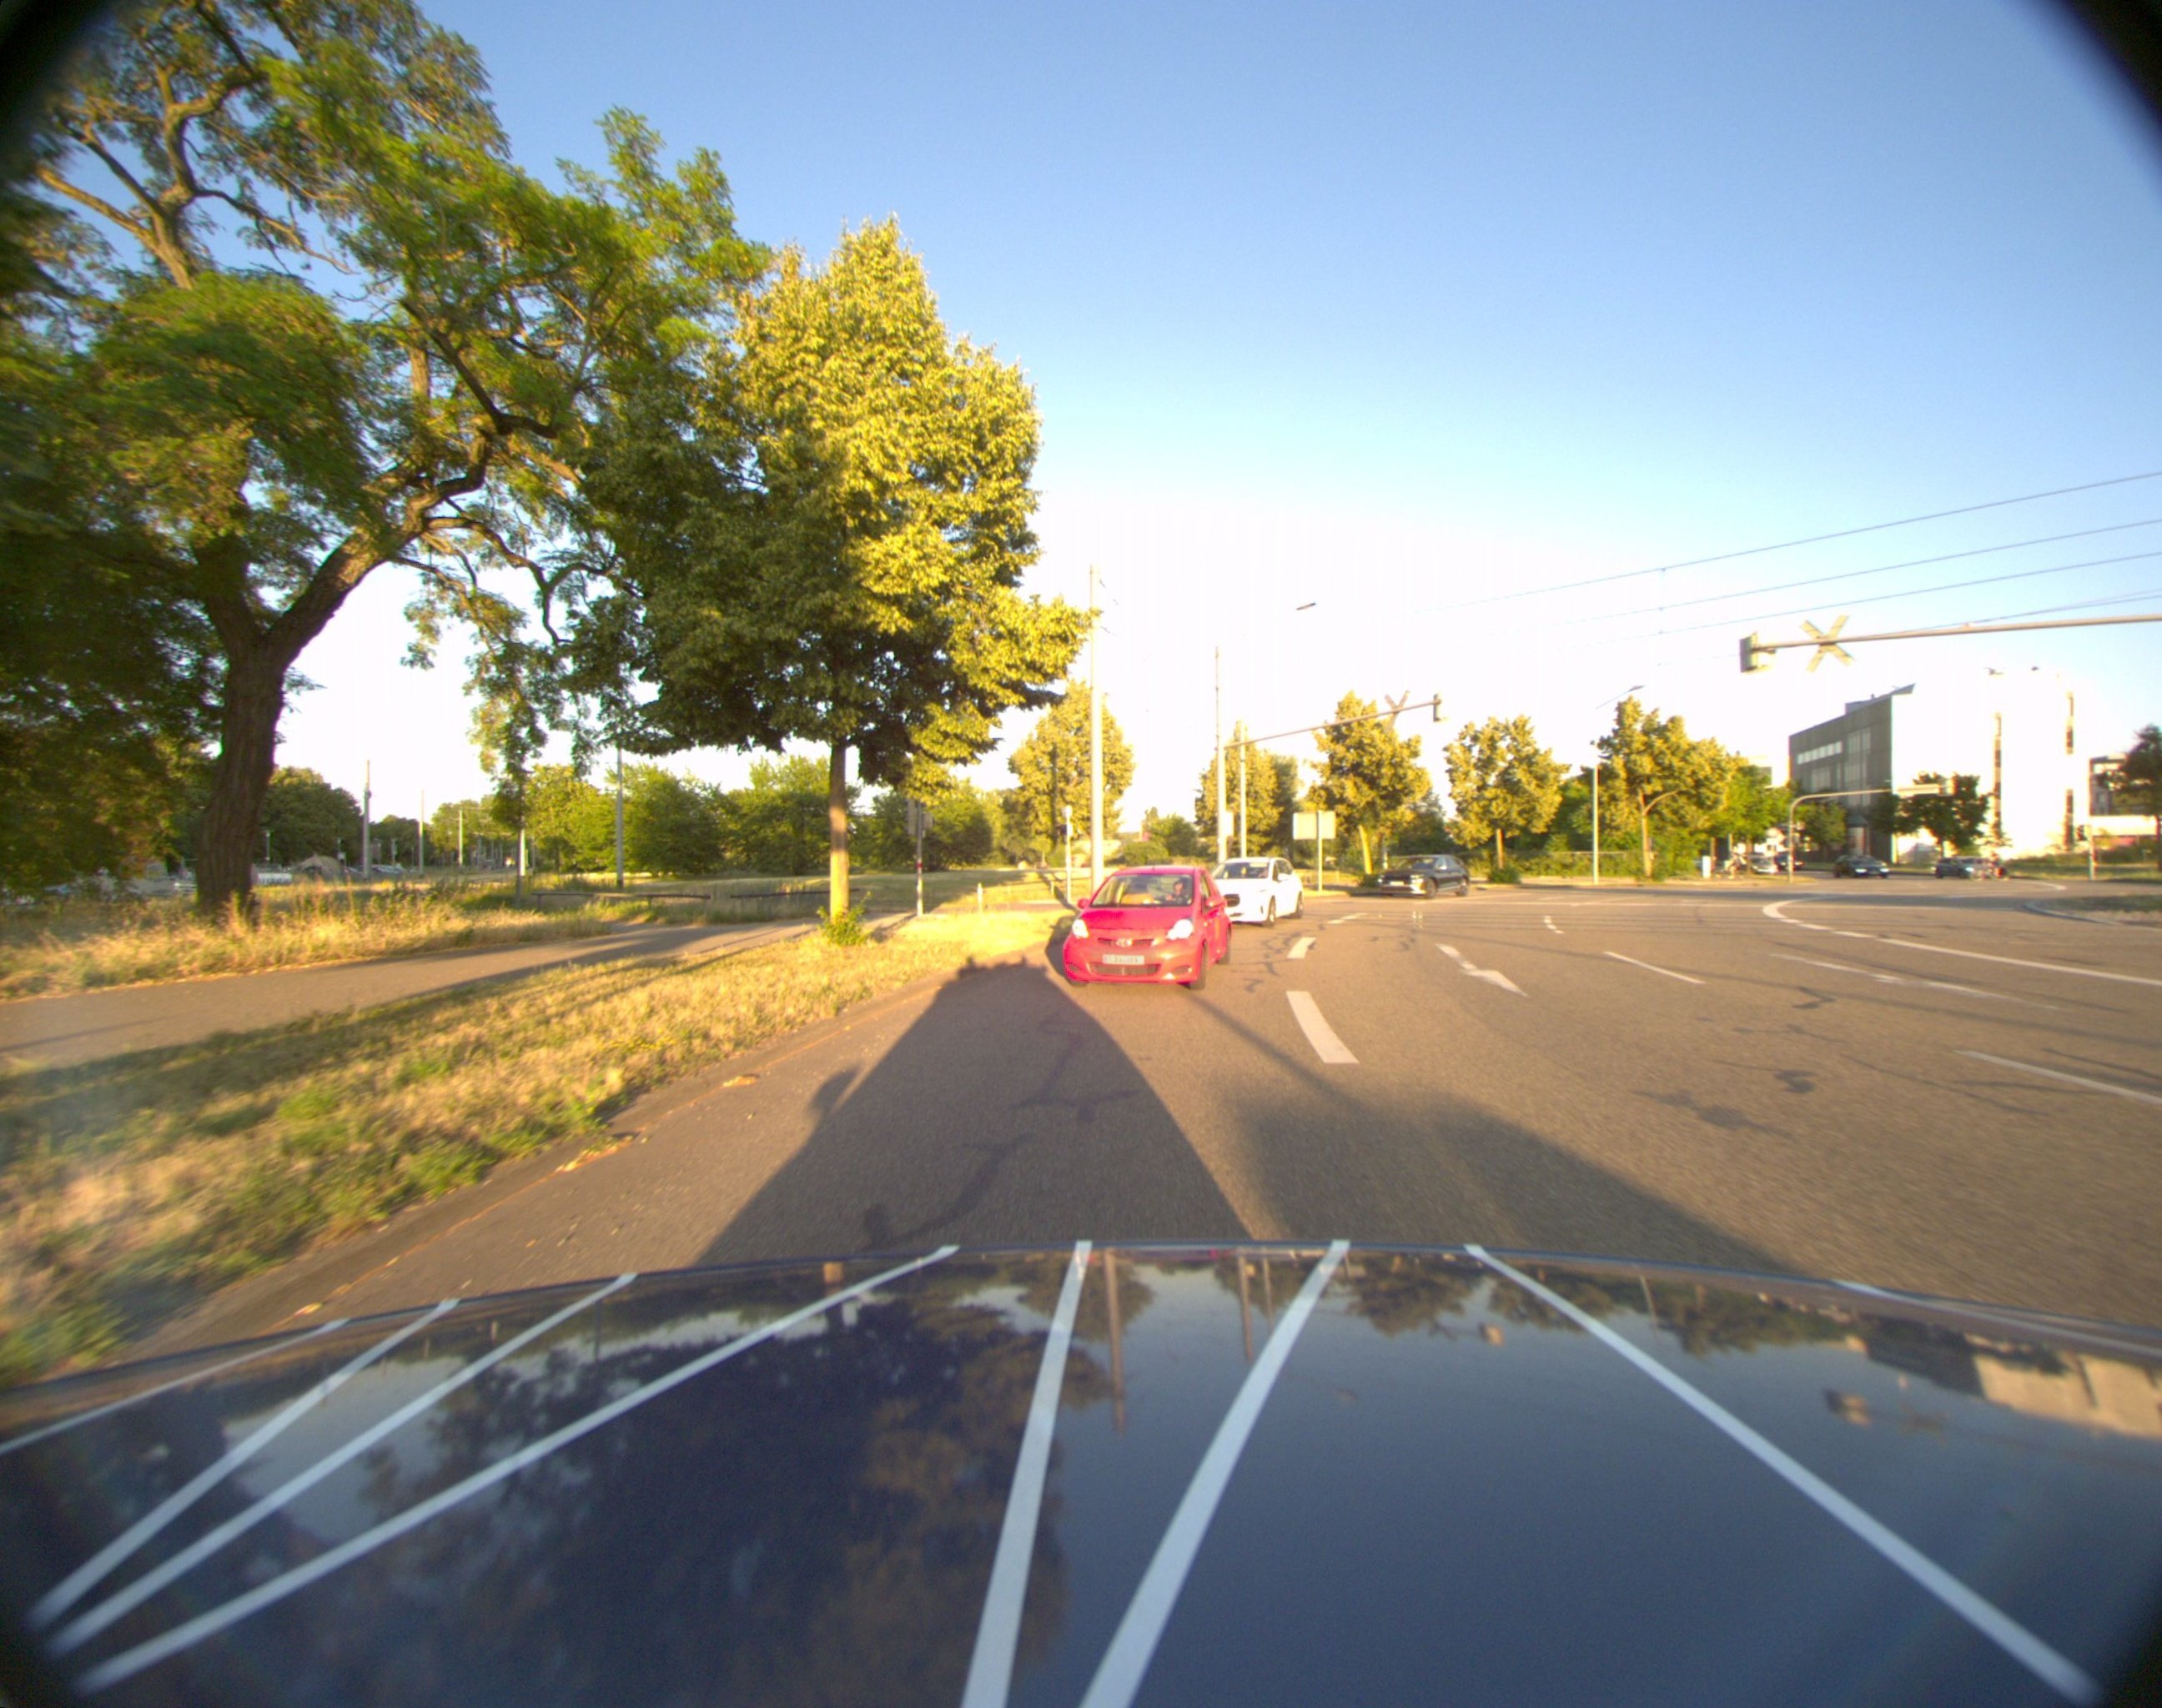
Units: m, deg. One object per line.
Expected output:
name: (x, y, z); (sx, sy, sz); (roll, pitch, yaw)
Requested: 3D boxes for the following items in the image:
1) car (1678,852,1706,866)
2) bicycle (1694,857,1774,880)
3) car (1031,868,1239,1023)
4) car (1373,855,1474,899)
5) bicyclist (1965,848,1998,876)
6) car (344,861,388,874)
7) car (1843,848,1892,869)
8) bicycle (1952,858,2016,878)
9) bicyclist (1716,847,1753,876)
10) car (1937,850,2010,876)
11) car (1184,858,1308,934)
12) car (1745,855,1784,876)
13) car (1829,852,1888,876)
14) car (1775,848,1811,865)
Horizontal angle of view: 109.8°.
car: (70.112, 0.560, 87.265); (1.868, 1.616, 4.201); (-1, 0, 30)
bicycle: (39.917, 0.875, 46.511); (3.531, 1.387, 1.125); (-1, 0, 19)
car: (0.947, 0.970, 9.913); (1.691, 1.413, 4.216); (-1, 1, 18)
car: (13.010, 0.822, 28.748); (4.223, 1.549, 1.823); (0, 0, -40)
bicyclist: (53.579, 0.459, 45.206); (0.998, 1.623, 0.812); (-1, 1, 21)
car: (-81.629, 1.567, 86.763); (3.619, 1.472, 1.706); (1, -2, -41)
car: (64.213, 0.381, 62.104); (1.868, 1.616, 4.201); (-1, 0, 32)
bicycle: (53.666, 0.831, 45.191); (2.323, 1.172, 0.812); (-1, 0, 21)
bicyclist: (39.943, 0.468, 46.474); (1.414, 1.739, 1.125); (-1, 1, 19)
car: (57.090, 0.549, 48.682); (1.868, 1.616, 4.201); (-1, 0, 32)
car: (4.017, 0.880, 17.921); (1.755, 1.549, 4.223); (0, 0, 28)
car: (59.191, 0.988, 65.826); (1.868, 1.740, 3.859); (-1, 0, 32)
car: (57.259, 0.712, 56.055); (1.868, 1.616, 4.200); (-1, 0, 28)
car: (72.501, 0.249, 77.383); (1.868, 1.616, 4.201); (-1, 0, 31)
